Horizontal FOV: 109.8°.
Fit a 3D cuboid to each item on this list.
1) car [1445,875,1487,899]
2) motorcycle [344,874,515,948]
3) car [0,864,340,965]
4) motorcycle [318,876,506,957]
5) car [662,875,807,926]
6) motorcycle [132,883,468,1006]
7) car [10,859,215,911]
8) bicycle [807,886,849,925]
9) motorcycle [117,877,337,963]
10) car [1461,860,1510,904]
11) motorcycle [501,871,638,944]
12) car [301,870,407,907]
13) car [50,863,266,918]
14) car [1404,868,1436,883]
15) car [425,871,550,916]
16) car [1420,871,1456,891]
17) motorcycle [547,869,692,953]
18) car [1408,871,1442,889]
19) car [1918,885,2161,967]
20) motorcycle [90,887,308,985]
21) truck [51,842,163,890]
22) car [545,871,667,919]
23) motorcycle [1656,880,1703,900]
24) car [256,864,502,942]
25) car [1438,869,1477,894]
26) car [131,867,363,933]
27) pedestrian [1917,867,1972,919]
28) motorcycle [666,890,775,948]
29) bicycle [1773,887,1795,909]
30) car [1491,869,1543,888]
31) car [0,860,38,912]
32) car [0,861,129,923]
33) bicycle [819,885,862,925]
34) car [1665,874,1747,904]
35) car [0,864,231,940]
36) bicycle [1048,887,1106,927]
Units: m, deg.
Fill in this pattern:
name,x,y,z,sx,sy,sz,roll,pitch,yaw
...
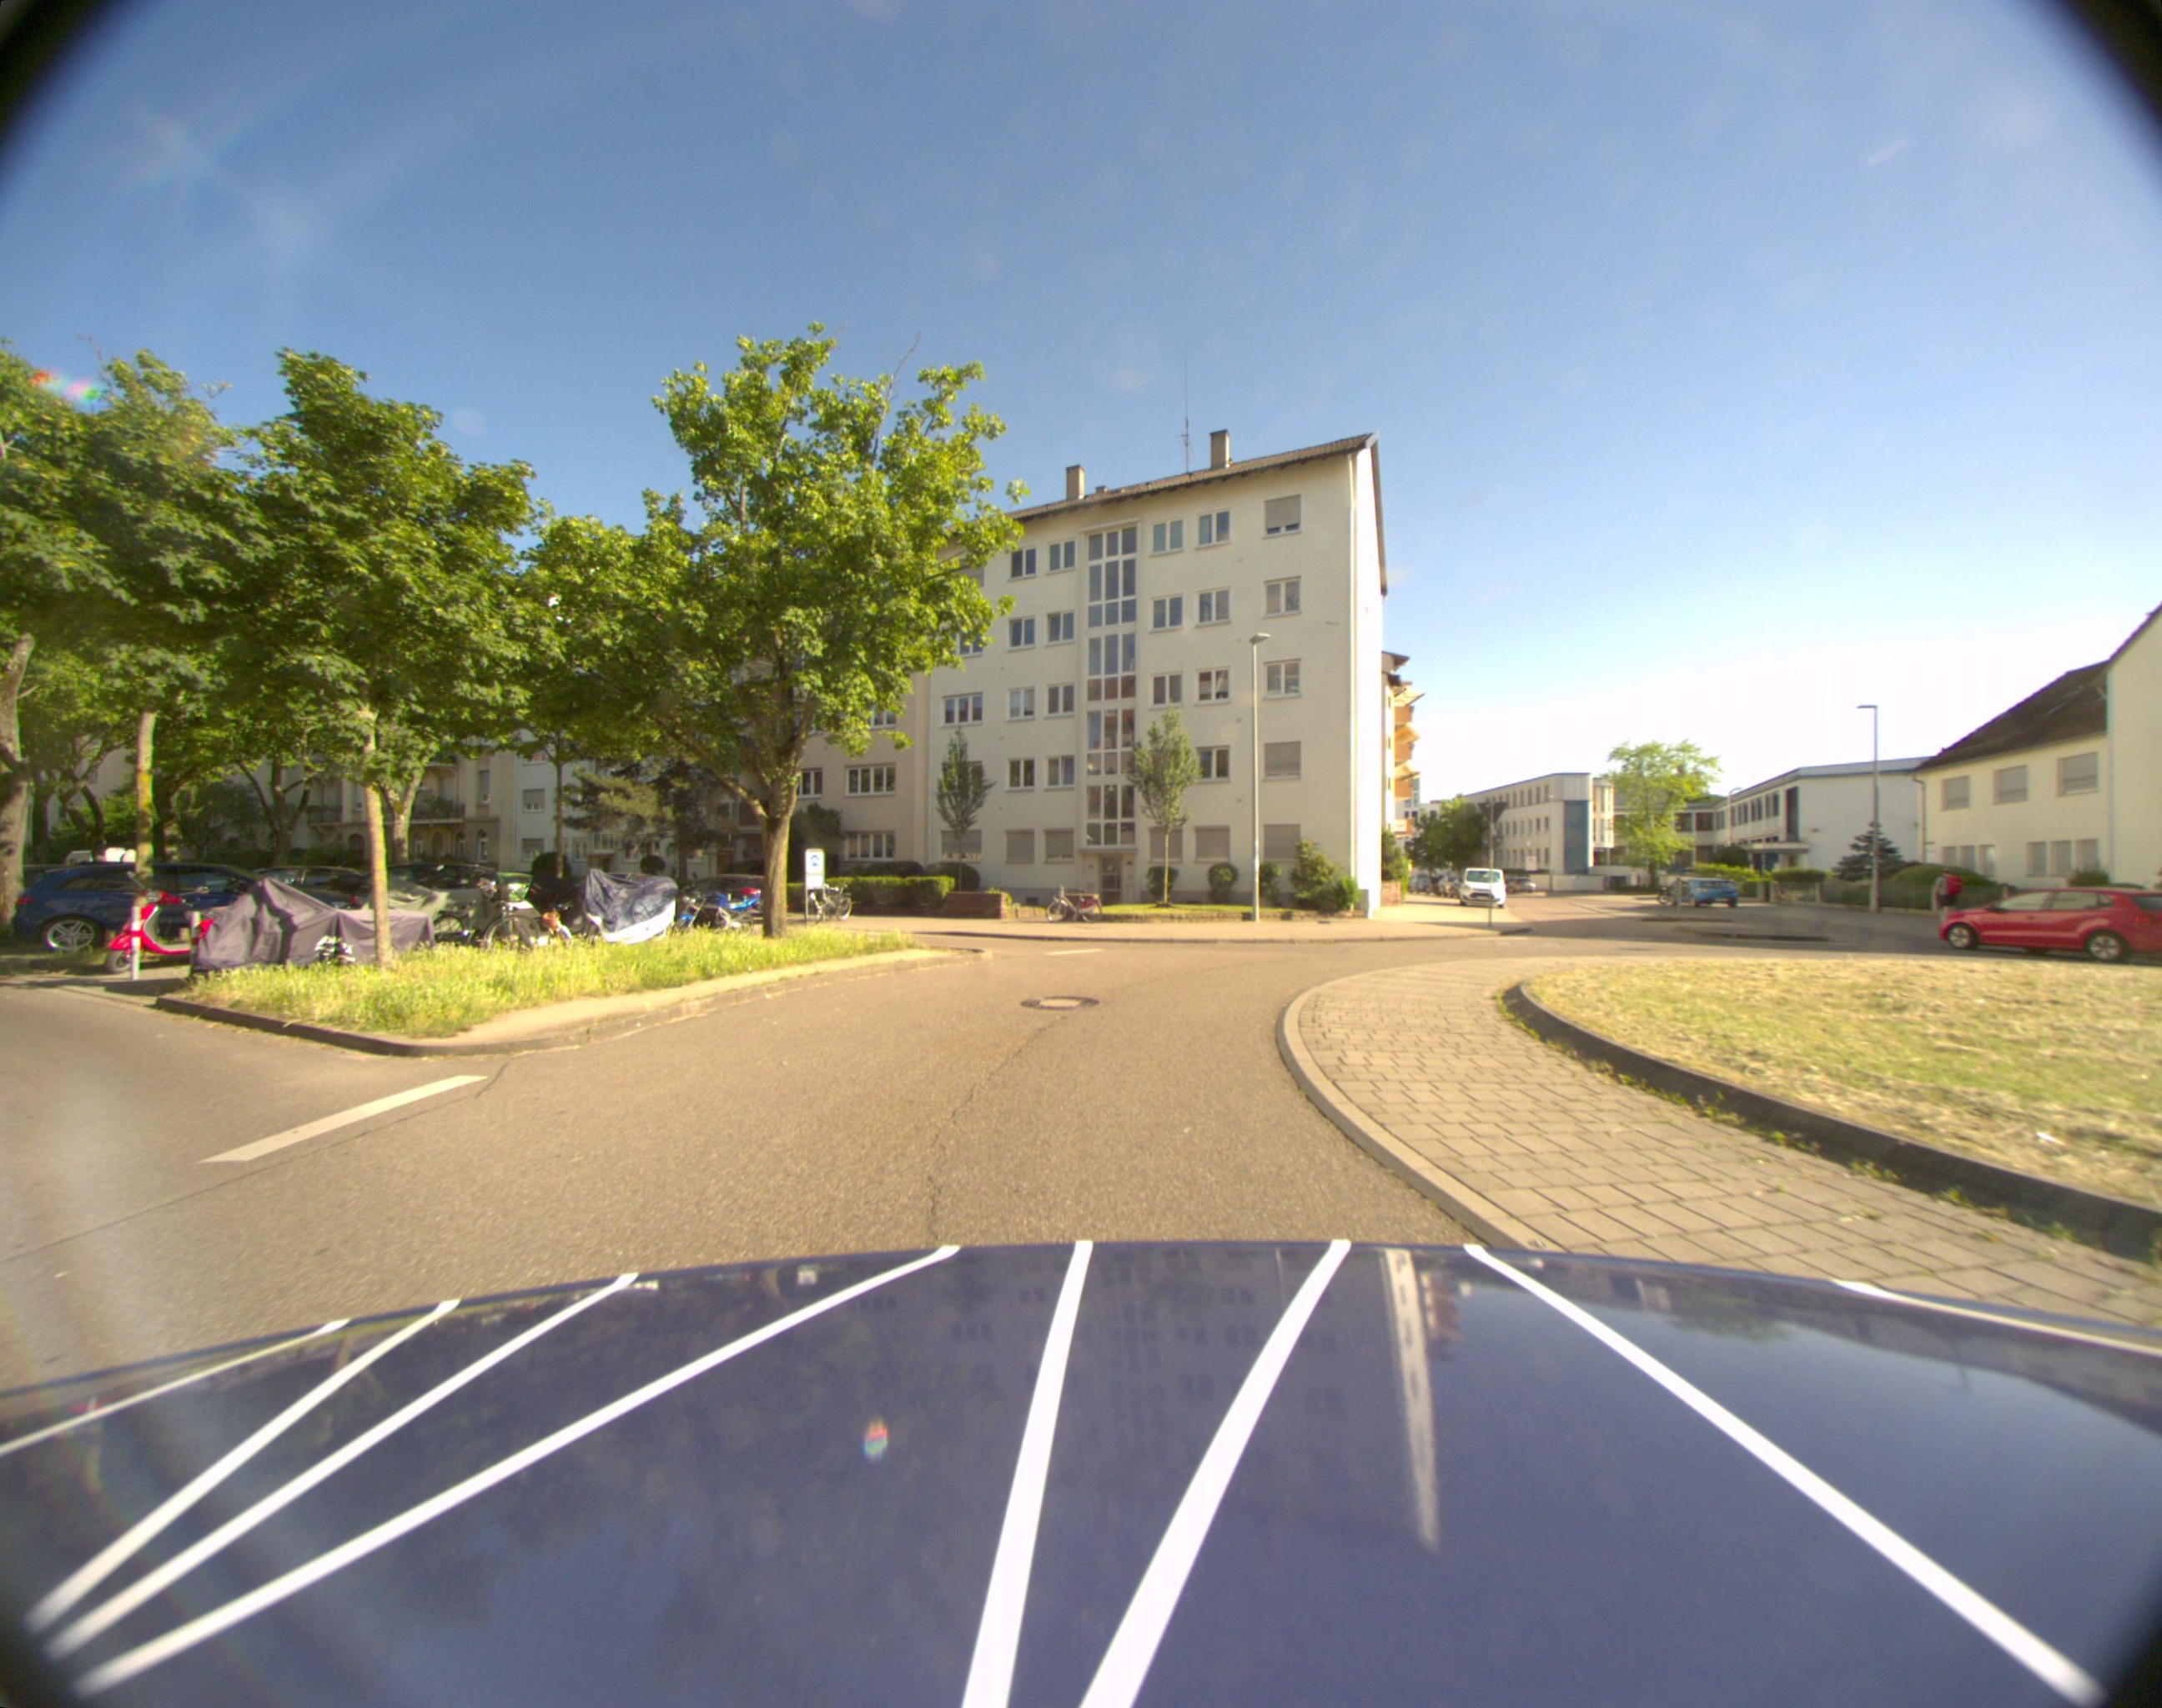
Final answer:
name,x,y,z,sx,sy,sz,roll,pitch,yaw
car,26.449,2.239,52.320,1.755,1.387,4.005,4,0,15
motorcycle,-12.455,1.038,14.630,1.049,1.260,2.246,0,-1,25
car,-16.628,1.022,14.120,3.885,1.630,1.799,1,-1,-37
motorcycle,-11.711,1.042,13.417,1.049,1.260,2.246,0,-1,25
car,-10.588,1.372,23.214,3.990,1.403,1.836,0,-2,25
motorcycle,-9.793,1.039,9.766,1.124,1.260,2.788,0,-1,20
car,-33.748,1.058,26.660,4.006,1.713,1.882,1,-1,-25
bicycle,-7.663,1.538,23.077,0.330,1.051,1.452,0,2,23
motorcycle,-14.250,1.040,12.779,1.049,1.260,2.246,0,-1,25
car,20.747,1.399,38.977,1.994,2.002,4.807,3,0,28
motorcycle,-10.667,1.069,15.947,1.060,1.384,2.131,0,0,23
car,-31.252,1.445,32.676,3.990,1.476,1.788,0,-2,22
car,-28.013,1.060,23.299,4.009,1.539,1.776,1,-1,-43
car,41.872,2.619,93.921,2.136,1.799,4.839,-1,-1,6
car,-21.596,1.387,27.665,3.990,1.496,1.788,0,-2,22
car,29.686,2.213,63.315,1.755,1.445,4.004,4,0,12
motorcycle,-8.007,0.935,13.301,0.861,1.320,2.058,0,-1,21
car,30.621,2.292,67.730,1.755,1.445,4.004,4,0,11
car,20.212,1.404,15.592,1.715,1.374,4.001,2,-1,2
motorcycle,-12.789,1.132,11.096,0.887,1.229,1.898,0,-1,25
truck,-56.160,0.681,43.806,5.892,2.660,2.416,0,-1,22
car,-16.129,1.346,25.752,3.989,1.476,1.789,0,-2,30
motorcycle,33.233,1.998,42.243,0.592,1.088,1.959,1,-2,-41
car,-16.098,1.029,17.569,1.994,1.588,4.009,-1,-1,43
car,27.894,2.000,56.443,1.755,1.632,4.005,4,0,15
car,-22.097,1.151,20.419,4.009,1.588,1.874,1,-1,-42
pedestrian,28.472,1.275,25.069,0.817,1.695,0.999,-1,-1,22
motorcycle,-7.180,1.261,15.239,0.812,1.066,1.849,0,-2,25
bicycle,35.622,2.220,38.507,0.345,1.009,1.265,1,0,21
car,38.994,2.184,68.107,2.137,1.603,4.838,-1,-1,4
car,-34.572,0.950,22.501,4.008,1.581,1.881,1,-1,-40
car,-28.582,0.972,20.053,4.008,1.581,1.881,1,-1,-40
bicycle,-7.232,1.518,22.885,0.330,1.051,1.452,0,2,23
car,32.225,1.776,39.336,1.881,1.425,4.422,-1,-2,20
car,-22.212,1.014,17.032,4.008,1.581,1.702,1,-1,-40
bicycle,-0.111,1.516,21.915,1.621,1.072,0.385,0,2,19
